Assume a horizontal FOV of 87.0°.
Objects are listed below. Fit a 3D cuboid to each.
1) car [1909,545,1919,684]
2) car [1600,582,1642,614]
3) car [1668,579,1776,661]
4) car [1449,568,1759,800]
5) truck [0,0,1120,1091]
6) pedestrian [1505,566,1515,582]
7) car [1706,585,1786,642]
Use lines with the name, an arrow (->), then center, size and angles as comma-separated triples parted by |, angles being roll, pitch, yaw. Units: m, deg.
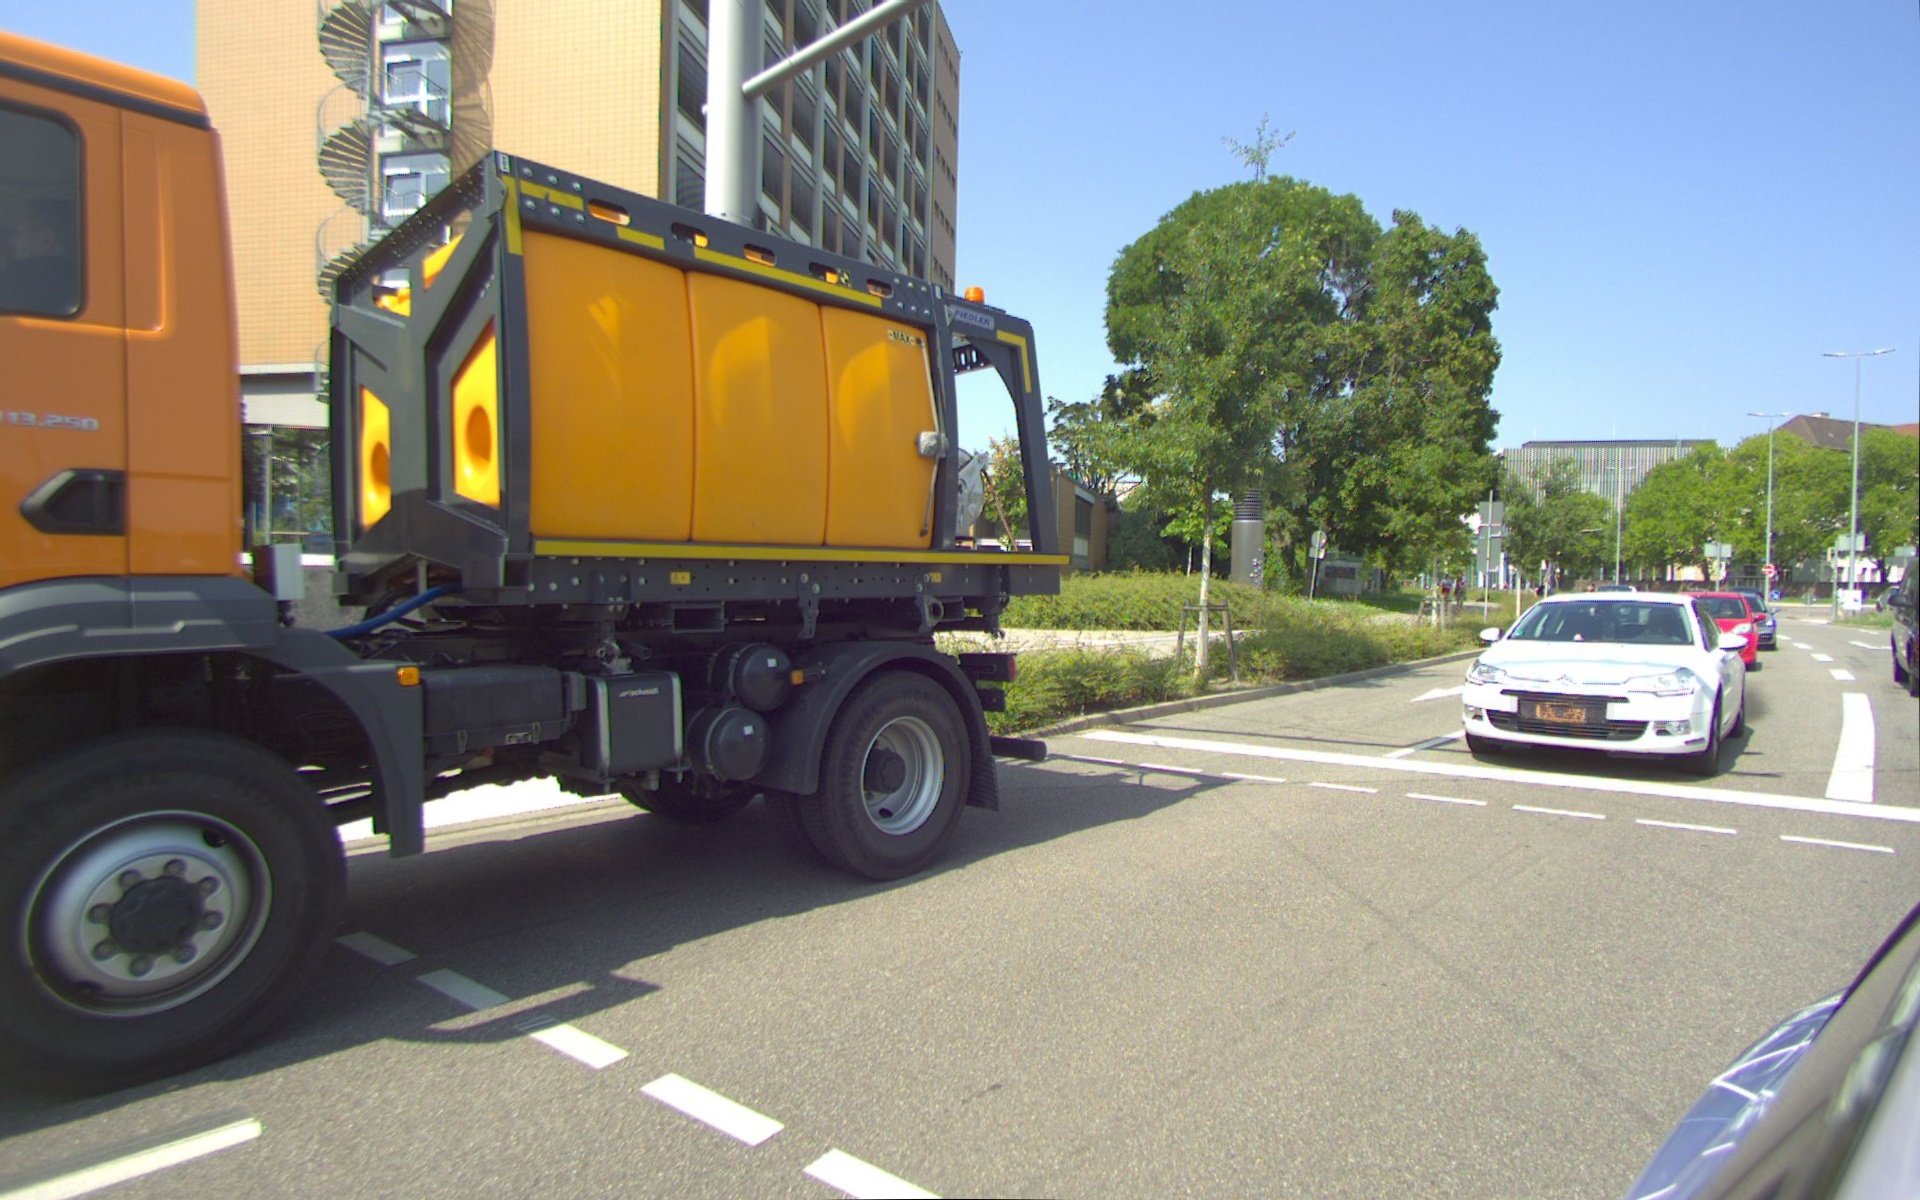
car -> 14.883, 0.194, 14.353 | 1.894, 1.954, 4.812 | 2, 2, 42
car -> 31.407, -0.124, 48.069 | 1.606, 1.440, 3.563 | 2, 2, 34
car -> 14.840, 0.327, 19.657 | 1.511, 1.426, 3.311 | 1, 1, 40
car -> 6.176, 0.551, 9.436 | 1.765, 1.639, 4.534 | 0, 1, 41
truck -> -2.459, -0.362, 4.954 | 3.031, 3.270, 7.080 | 0, 0, 43
pedestrian -> 62.753, -2.913, 115.418 | 0.959, 1.807, 1.107 | 1, 1, 27
car -> 20.127, 0.305, 26.015 | 1.508, 1.355, 3.463 | 0, 1, 36
